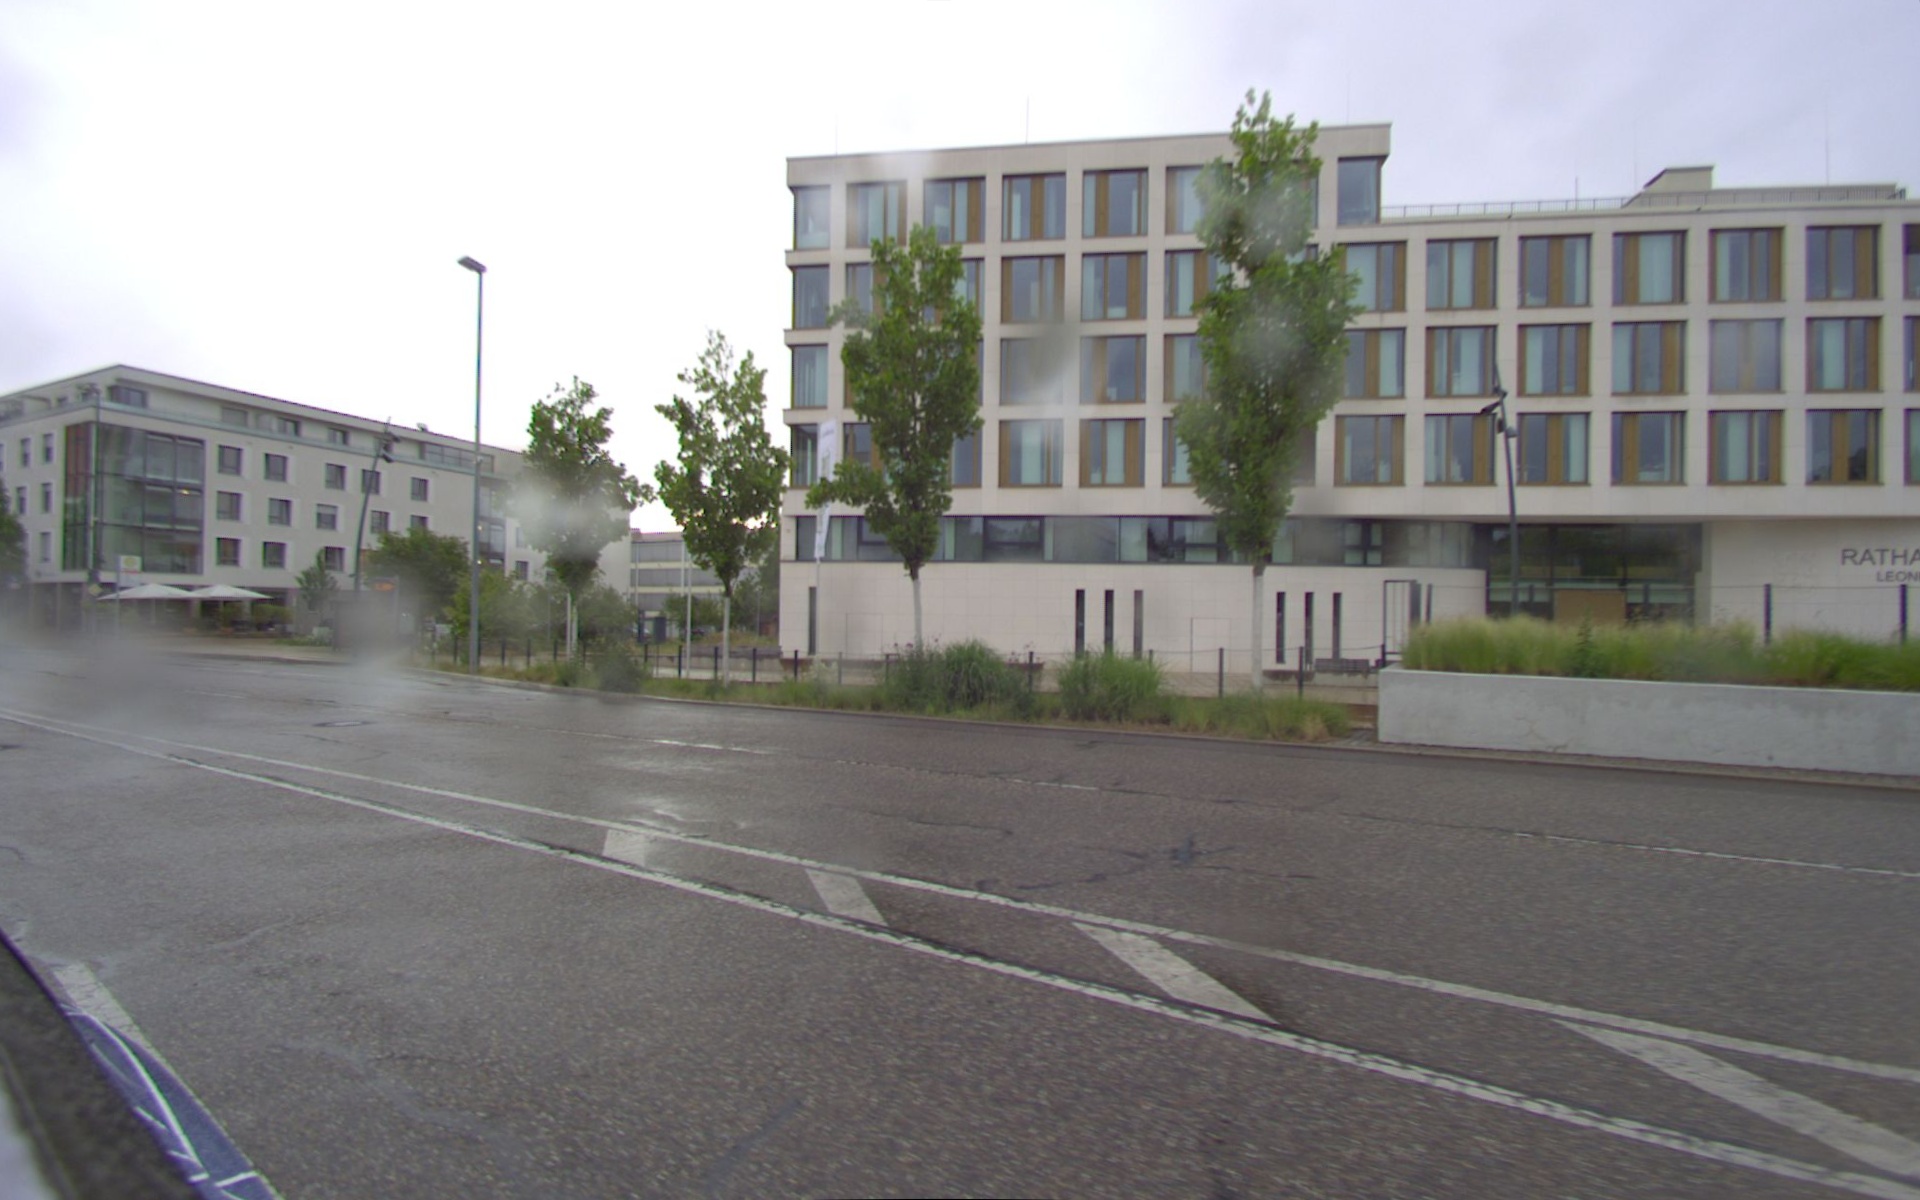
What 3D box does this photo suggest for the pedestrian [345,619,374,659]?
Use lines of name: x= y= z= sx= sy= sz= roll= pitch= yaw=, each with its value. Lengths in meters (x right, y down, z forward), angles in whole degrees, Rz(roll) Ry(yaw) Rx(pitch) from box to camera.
pedestrian: x=-26.697 y=1.728 z=44.982 sx=0.668 sy=1.758 sz=0.781 roll=2 pitch=-1 yaw=16
